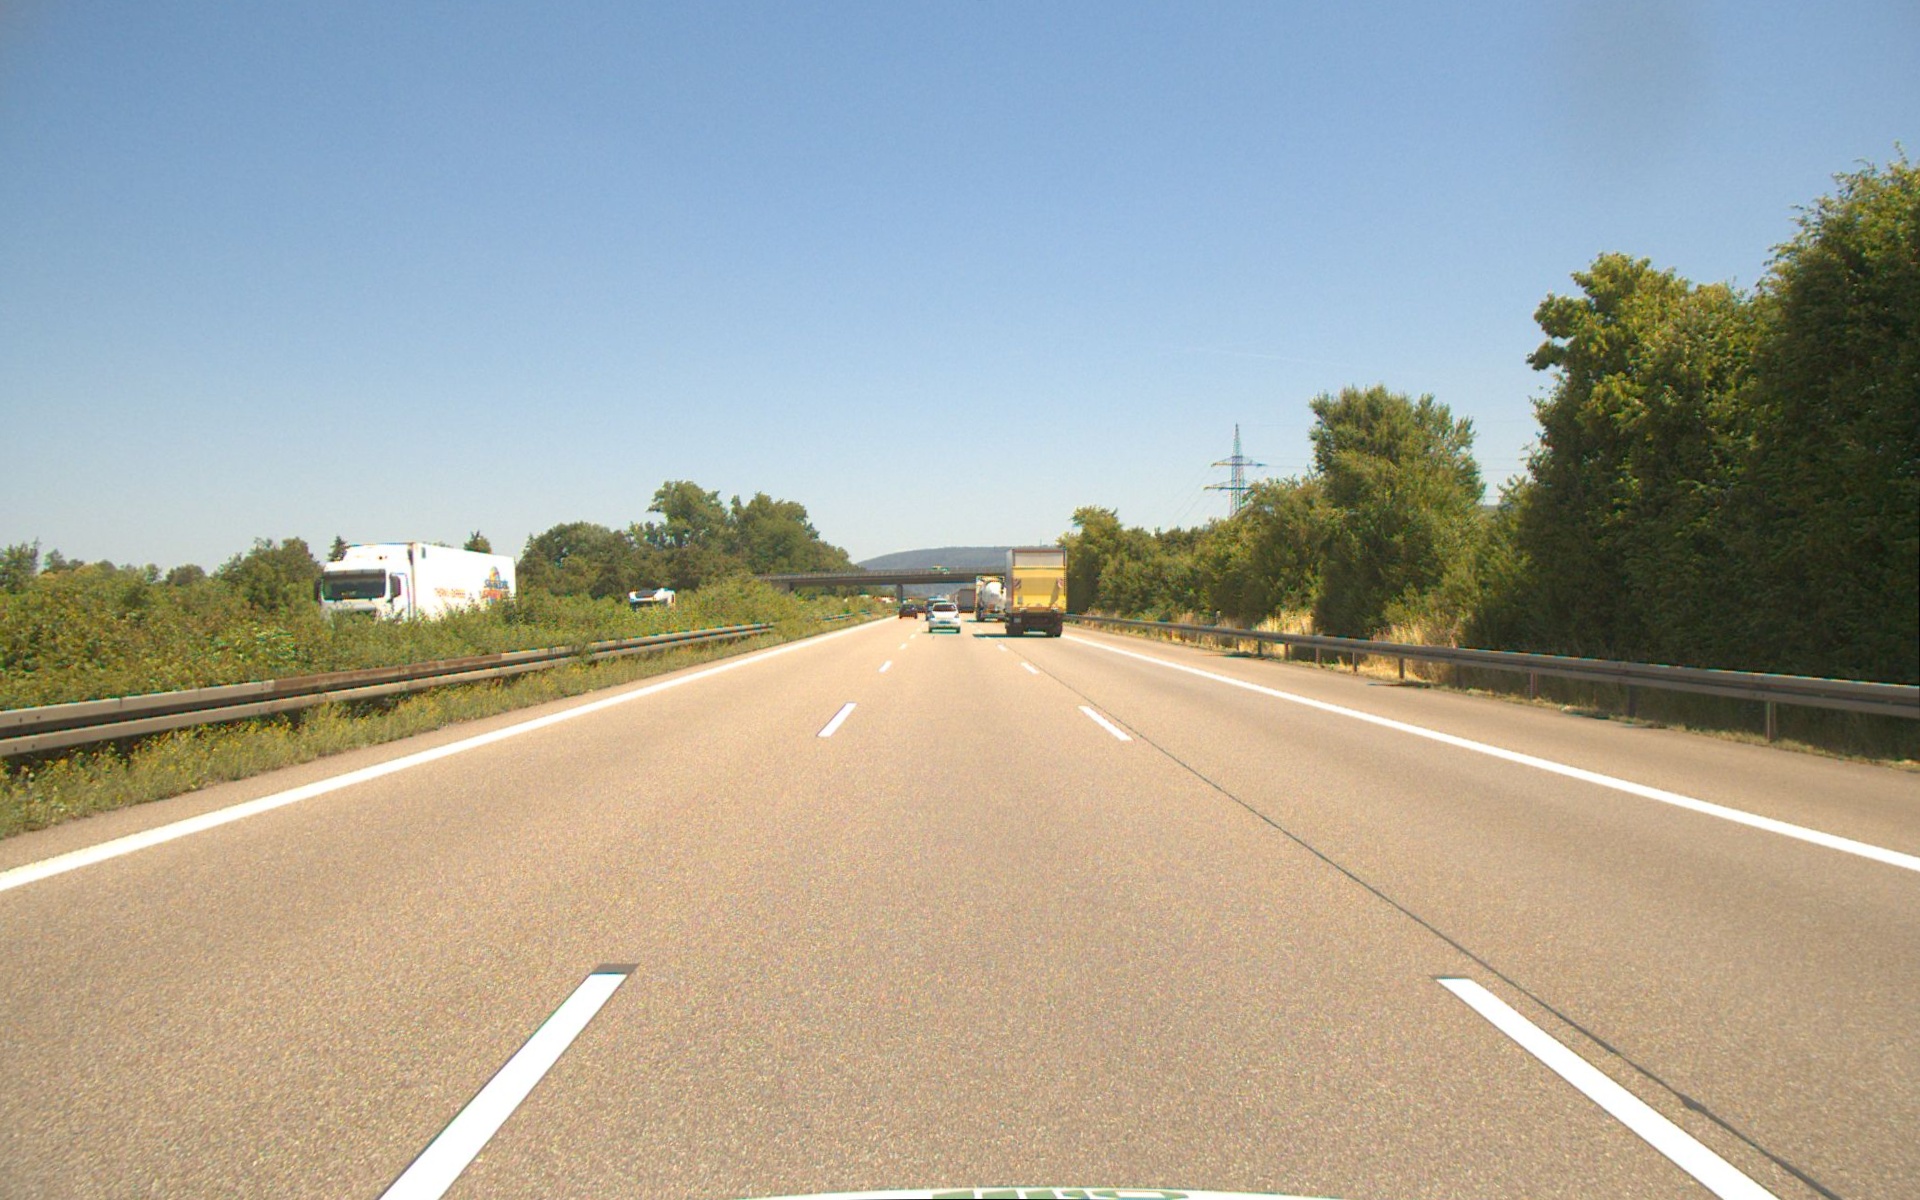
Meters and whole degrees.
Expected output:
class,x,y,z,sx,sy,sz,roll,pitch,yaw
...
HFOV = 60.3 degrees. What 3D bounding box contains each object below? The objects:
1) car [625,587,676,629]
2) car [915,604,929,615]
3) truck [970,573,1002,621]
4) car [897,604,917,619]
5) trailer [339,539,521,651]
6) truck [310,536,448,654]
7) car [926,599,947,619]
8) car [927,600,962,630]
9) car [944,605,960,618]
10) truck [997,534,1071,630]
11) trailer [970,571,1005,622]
class,x,y,z,sx,sy,sz,roll,pitch,yaw
car,-21.166,0.529,113.365,2.420,2.756,5.518,1,0,-1
car,-5.275,1.317,228.925,1.798,1.411,3.999,1,0,0
truck,2.228,-0.250,145.768,2.521,4.143,6.391,1,0,-1
car,-5.094,1.065,158.658,1.798,1.411,3.999,1,0,0
trailer,-20.707,-0.150,65.802,2.874,3.937,13.907,1,0,-1
truck,-20.619,-0.159,59.043,2.874,3.937,5.750,1,0,-1
car,-2.006,0.771,142.302,1.814,1.661,3.999,1,0,0
car,-0.805,0.793,86.454,1.770,1.494,3.999,1,0,0
car,-0.894,1.350,189.976,1.798,1.411,3.999,1,0,0
truck,3.462,-0.818,80.242,2.874,4.273,10.679,1,0,-1
trailer,2.312,-0.255,141.064,2.527,4.146,11.100,1,0,-1
